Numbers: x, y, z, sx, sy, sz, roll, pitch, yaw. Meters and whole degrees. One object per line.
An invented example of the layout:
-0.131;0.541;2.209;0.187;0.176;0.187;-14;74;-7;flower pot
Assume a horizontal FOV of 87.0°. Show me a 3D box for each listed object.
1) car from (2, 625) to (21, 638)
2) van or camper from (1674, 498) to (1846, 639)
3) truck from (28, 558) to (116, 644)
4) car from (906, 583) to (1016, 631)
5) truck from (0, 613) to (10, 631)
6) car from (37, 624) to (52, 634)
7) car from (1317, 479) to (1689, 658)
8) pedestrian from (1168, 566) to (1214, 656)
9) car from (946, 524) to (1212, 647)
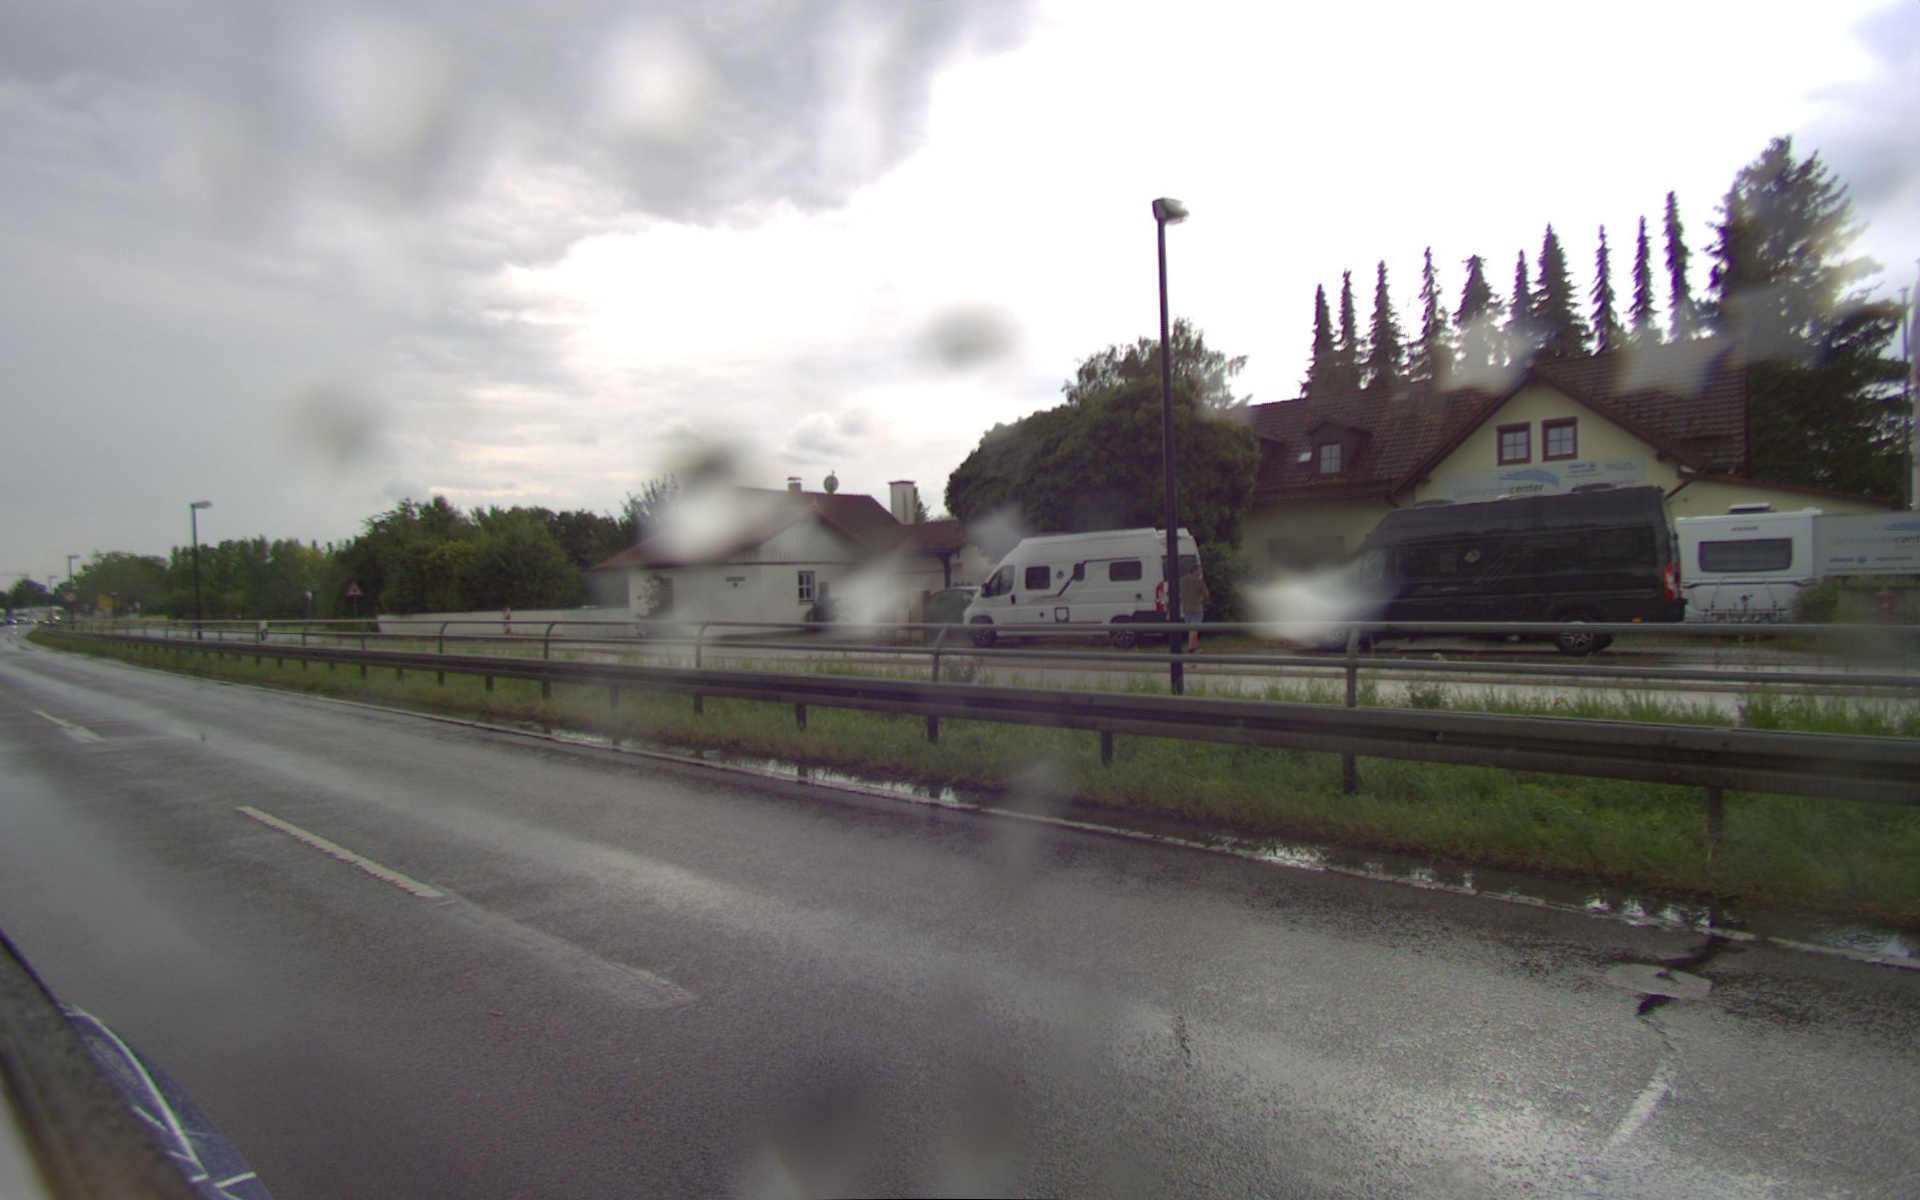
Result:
-162.041;5.355;172.846;4.098;2.029;1.973;-1;1;42;car
17.378;-0.663;21.972;2.560;2.611;6.161;-2;1;40;van or camper
-55.731;0.088;63.419;7.783;5.071;3.214;-1;1;43;truck
-0.005;0.228;31.406;3.269;1.366;1.433;-1;1;43;car
-136.306;3.146;142.909;7.170;2.494;2.762;-1;1;45;truck
-172.948;5.423;191.145;4.026;1.746;1.788;-1;1;42;car
9.733;-0.474;18.422;5.567;2.783;2.360;-2;1;39;car
4.499;0.210;19.682;0.509;1.723;0.651;-2;1;-40;pedestrian
2.694;-0.282;24.062;6.015;2.600;2.215;-2;1;40;car
